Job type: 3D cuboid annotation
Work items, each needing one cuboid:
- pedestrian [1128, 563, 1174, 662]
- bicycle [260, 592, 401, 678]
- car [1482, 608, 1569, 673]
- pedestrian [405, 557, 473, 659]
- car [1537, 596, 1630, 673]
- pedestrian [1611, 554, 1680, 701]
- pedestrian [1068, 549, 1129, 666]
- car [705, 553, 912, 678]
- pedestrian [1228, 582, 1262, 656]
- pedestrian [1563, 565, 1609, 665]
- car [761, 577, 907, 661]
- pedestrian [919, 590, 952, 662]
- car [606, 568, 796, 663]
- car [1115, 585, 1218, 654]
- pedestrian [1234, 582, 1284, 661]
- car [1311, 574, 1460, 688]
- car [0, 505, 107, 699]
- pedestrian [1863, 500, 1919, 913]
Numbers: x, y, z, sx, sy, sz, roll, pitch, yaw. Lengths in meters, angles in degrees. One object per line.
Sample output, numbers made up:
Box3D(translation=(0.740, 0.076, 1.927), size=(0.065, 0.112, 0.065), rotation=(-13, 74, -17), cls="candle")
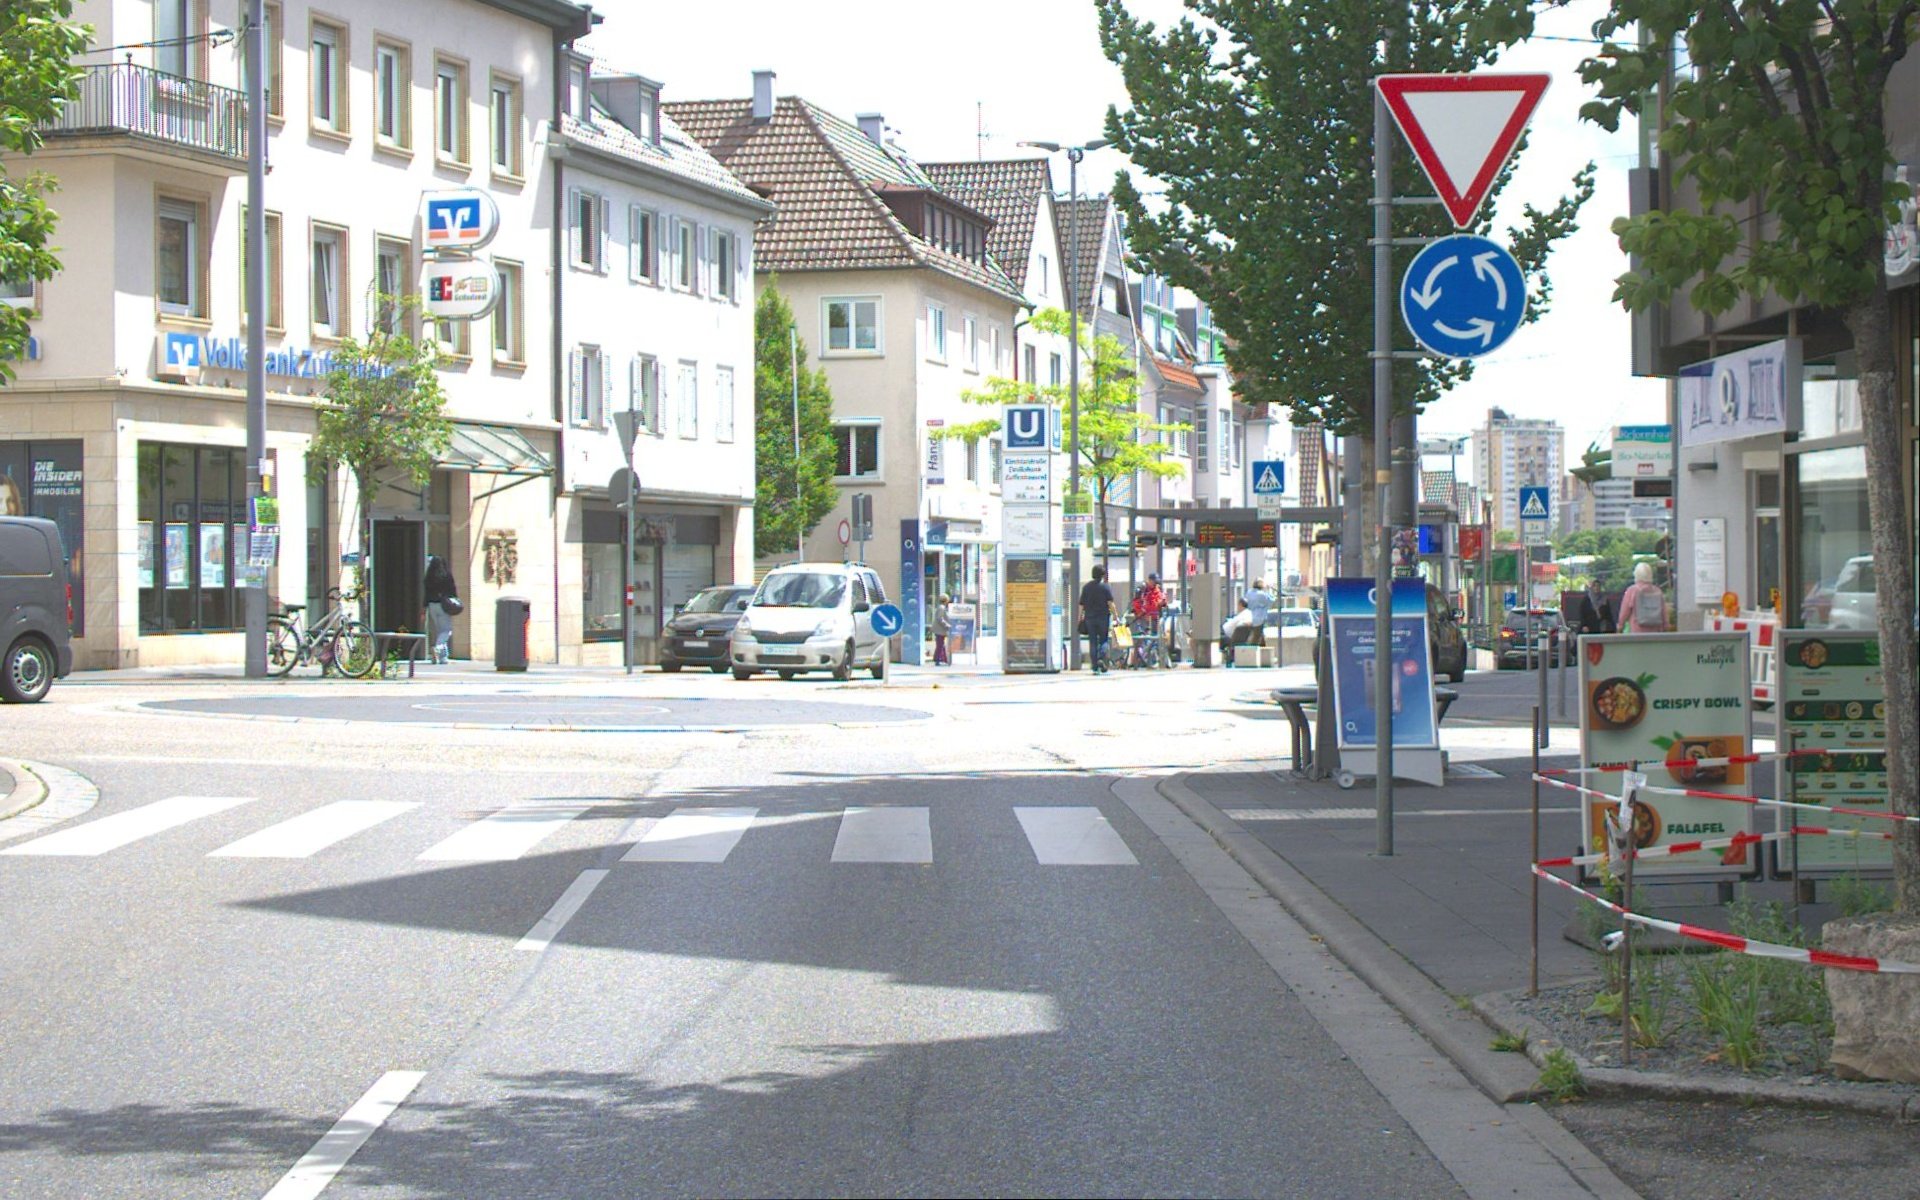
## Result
Box3D(translation=(3.432, 0.220, 61.791), size=(0.727, 1.757, 0.748), rotation=(1, 1, 10), cls="pedestrian")
Box3D(translation=(-7.882, 0.431, 43.077), size=(1.633, 1.027, 0.567), rotation=(1, 0, 15), cls="bicycle")
Box3D(translation=(15.158, 1.068, 92.278), size=(1.949, 1.634, 3.999), rotation=(1, 0, 5), cls="car")
Box3D(translation=(-7.889, 0.119, 52.105), size=(0.627, 1.527, 0.857), rotation=(1, 0, 23), cls="pedestrian")
Box3D(translation=(12.960, 0.693, 71.302), size=(1.698, 1.525, 3.469), rotation=(1, 0, 13), cls="car")
Box3D(translation=(7.940, 0.313, 39.832), size=(0.621, 1.684, 0.652), rotation=(1, 0, -1), cls="pedestrian")
Box3D(translation=(2.045, 0.106, 50.803), size=(0.869, 1.702, 0.530), rotation=(1, 0, 2), cls="pedestrian")
Box3D(translation=(-2.118, 0.203, 49.209), size=(1.994, 1.683, 3.998), rotation=(1, 0, 12), cls="car")
Box3D(translation=(5.172, 0.343, 62.378), size=(0.591, 1.312, 0.591), rotation=(1, 0, 5), cls="pedestrian")
Box3D(translation=(10.584, 0.250, 58.127), size=(0.621, 1.684, 0.652), rotation=(1, 0, -1), cls="pedestrian")
Box3D(translation=(-2.408, 0.349, 66.592), size=(1.846, 1.539, 3.998), rotation=(1, 0, 12), cls="car")
Box3D(translation=(-0.547, 0.588, 77.407), size=(0.693, 1.605, 0.644), rotation=(1, 0, 1), cls="pedestrian")
Box3D(translation=(-4.162, 0.236, 55.918), size=(1.995, 1.448, 3.998), rotation=(1, 0, 12), cls="car")
Box3D(translation=(5.127, 0.462, 84.904), size=(1.876, 1.618, 3.998), rotation=(1, 0, 13), cls="car")
Box3D(translation=(6.036, 0.432, 69.372), size=(0.728, 1.574, 0.747), rotation=(1, 1, 31), cls="pedestrian")
Box3D(translation=(6.061, 0.420, 48.708), size=(1.698, 1.525, 3.469), rotation=(1, 0, 13), cls="car")
Box3D(translation=(-10.585, -0.008, 32.201), size=(2.044, 1.842, 4.990), rotation=(1, 0, 32), cls="car")
Box3D(translation=(4.121, 0.410, 13.762), size=(0.784, 1.610, 0.800), rotation=(-1, 0, 0), cls="pedestrian")
